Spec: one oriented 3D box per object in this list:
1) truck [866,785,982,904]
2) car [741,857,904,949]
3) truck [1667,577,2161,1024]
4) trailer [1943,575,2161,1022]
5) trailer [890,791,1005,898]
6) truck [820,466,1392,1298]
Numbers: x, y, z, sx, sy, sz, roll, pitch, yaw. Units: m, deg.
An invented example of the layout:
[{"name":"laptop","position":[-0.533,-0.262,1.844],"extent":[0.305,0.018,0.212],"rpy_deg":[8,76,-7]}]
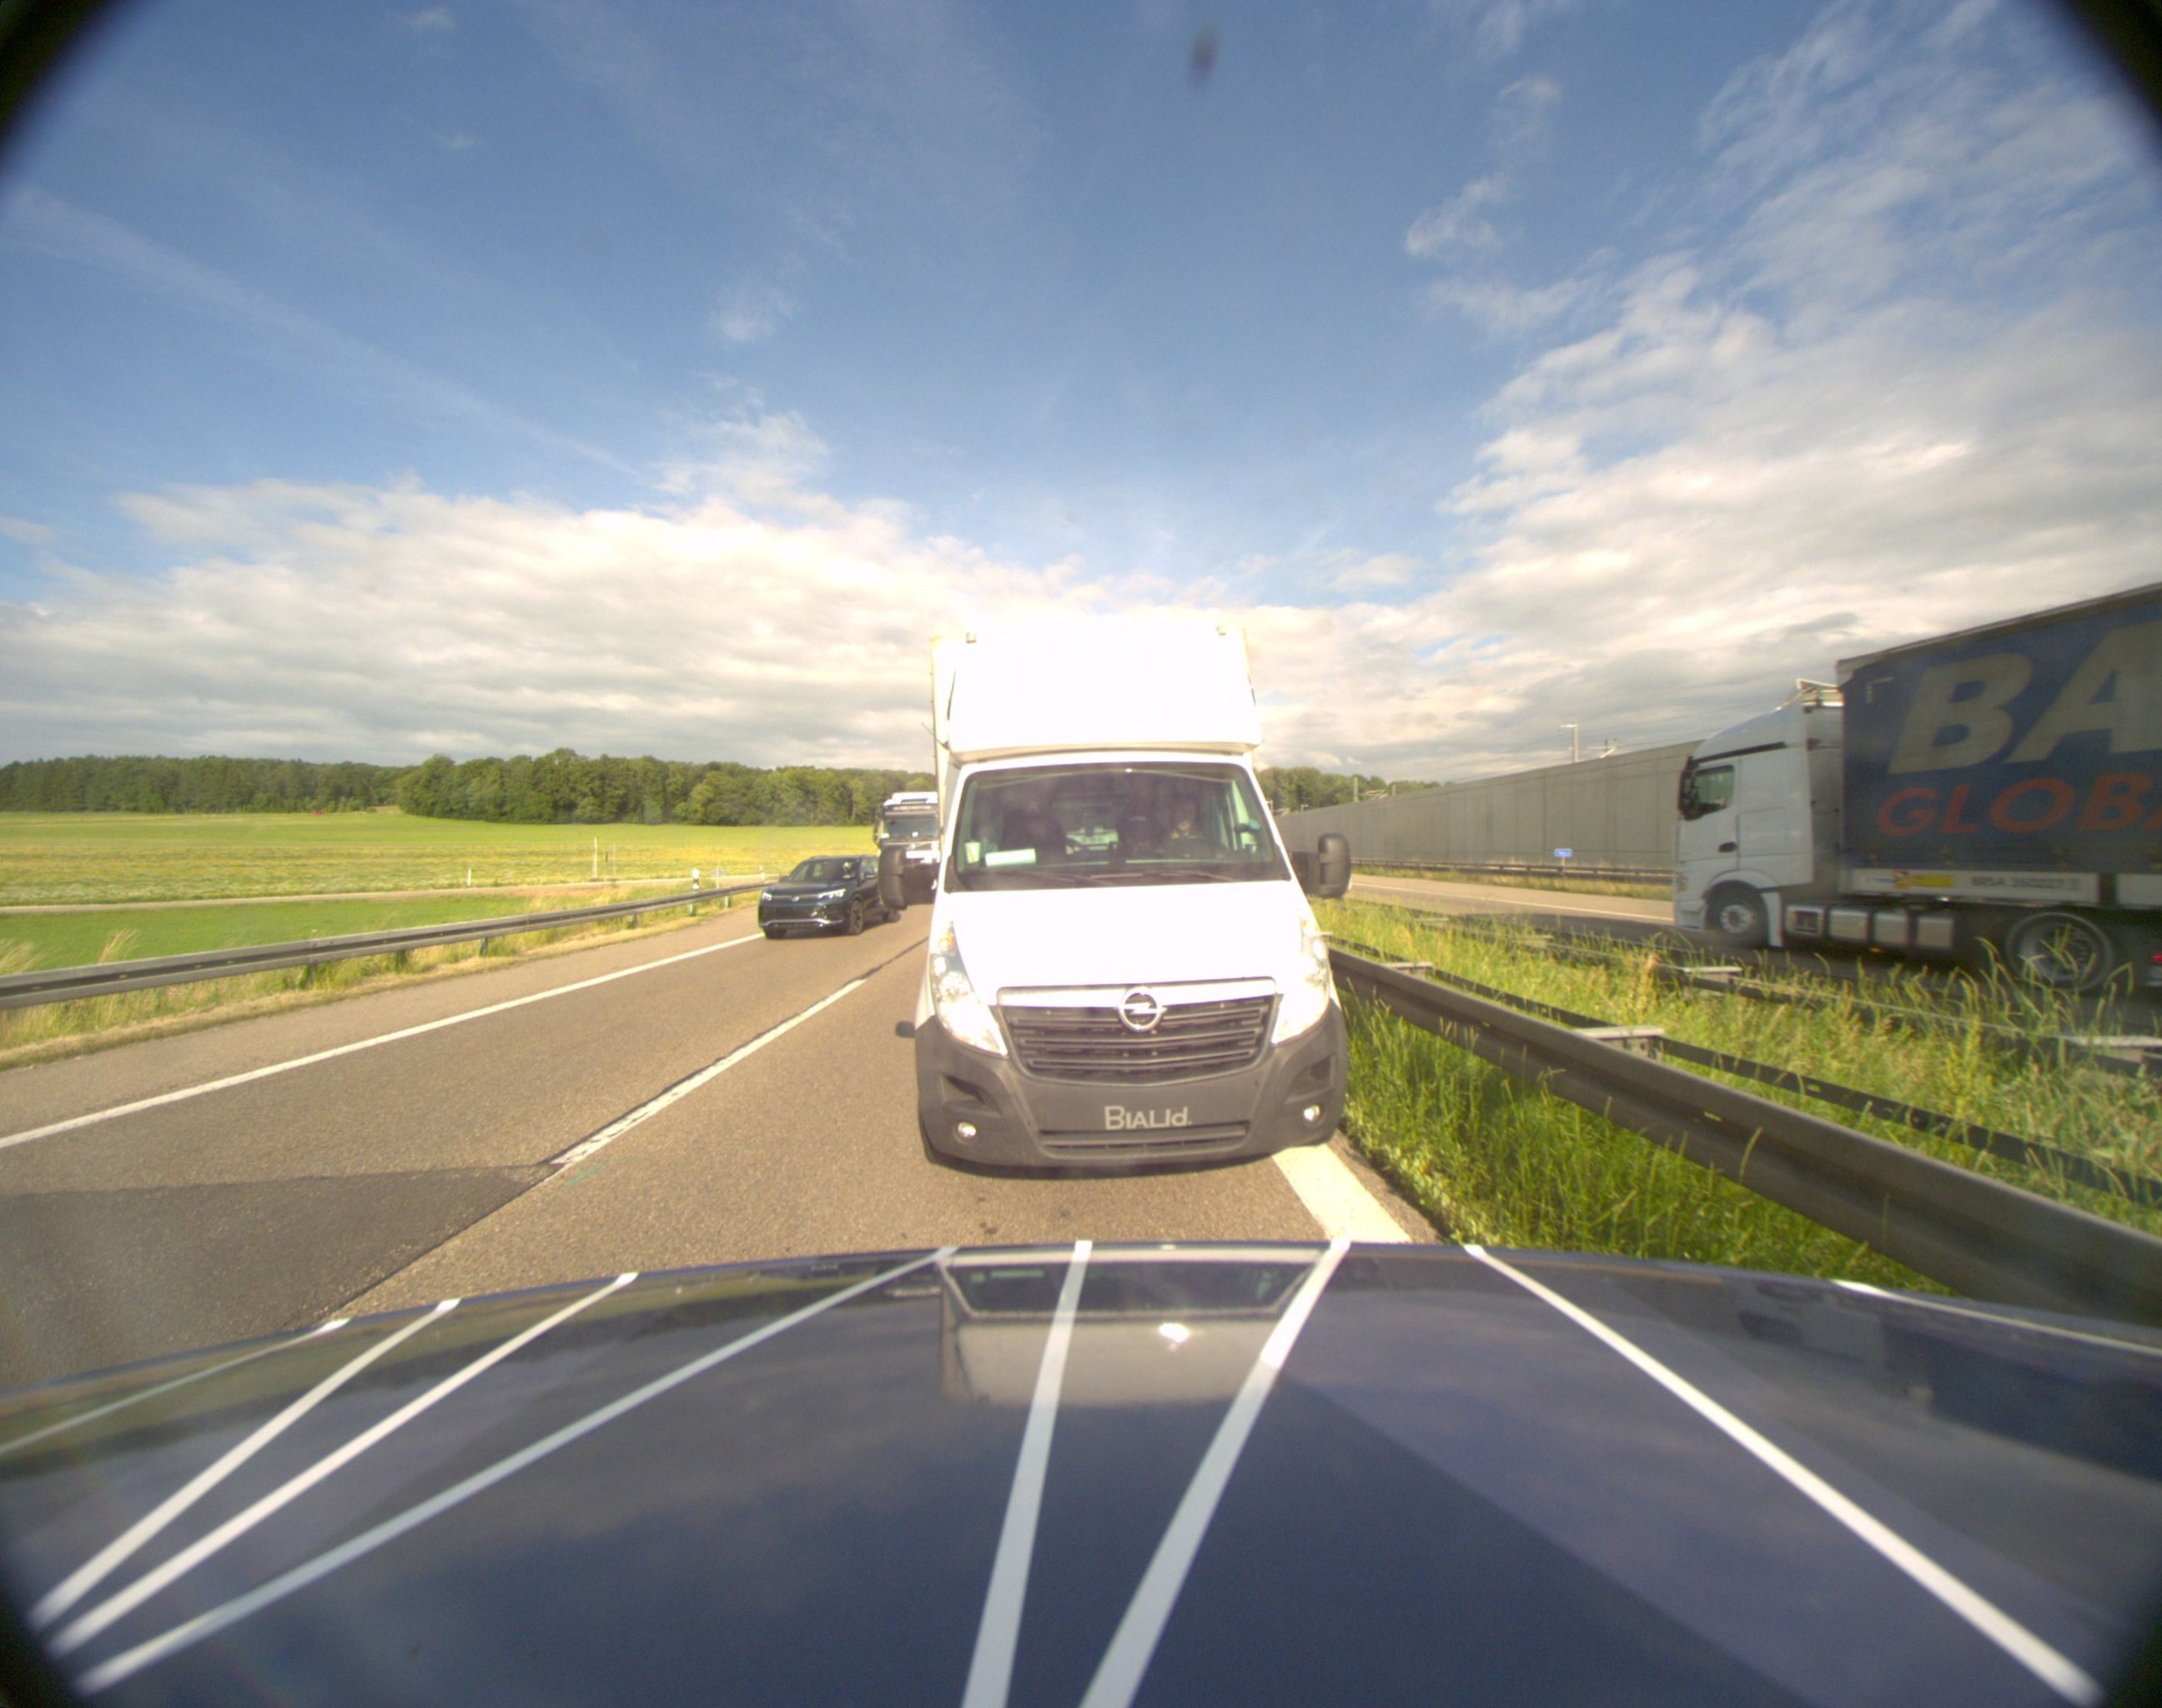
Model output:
[{"name":"truck","position":[-5.766,-0.363,29.121],"extent":[2.842,3.967,6.500],"rpy_deg":[-2,1,1]},{"name":"car","position":[-5.344,0.933,16.373],"extent":[1.998,1.587,4.118],"rpy_deg":[-2,1,1]},{"name":"truck","position":[11.140,-0.548,9.101],"extent":[2.645,4.074,7.000],"rpy_deg":[-2,1,-1]},{"name":"trailer","position":[11.298,-0.495,2.451],"extent":[2.661,4.057,12.393],"rpy_deg":[-2,1,-2]},{"name":"trailer","position":[-5.687,-0.437,34.975],"extent":[2.826,3.959,12.127],"rpy_deg":[-2,1,1]},{"name":"truck","position":[0.156,0.079,6.782],"extent":[2.060,3.088,7.802],"rpy_deg":[-2,1,1]}]
